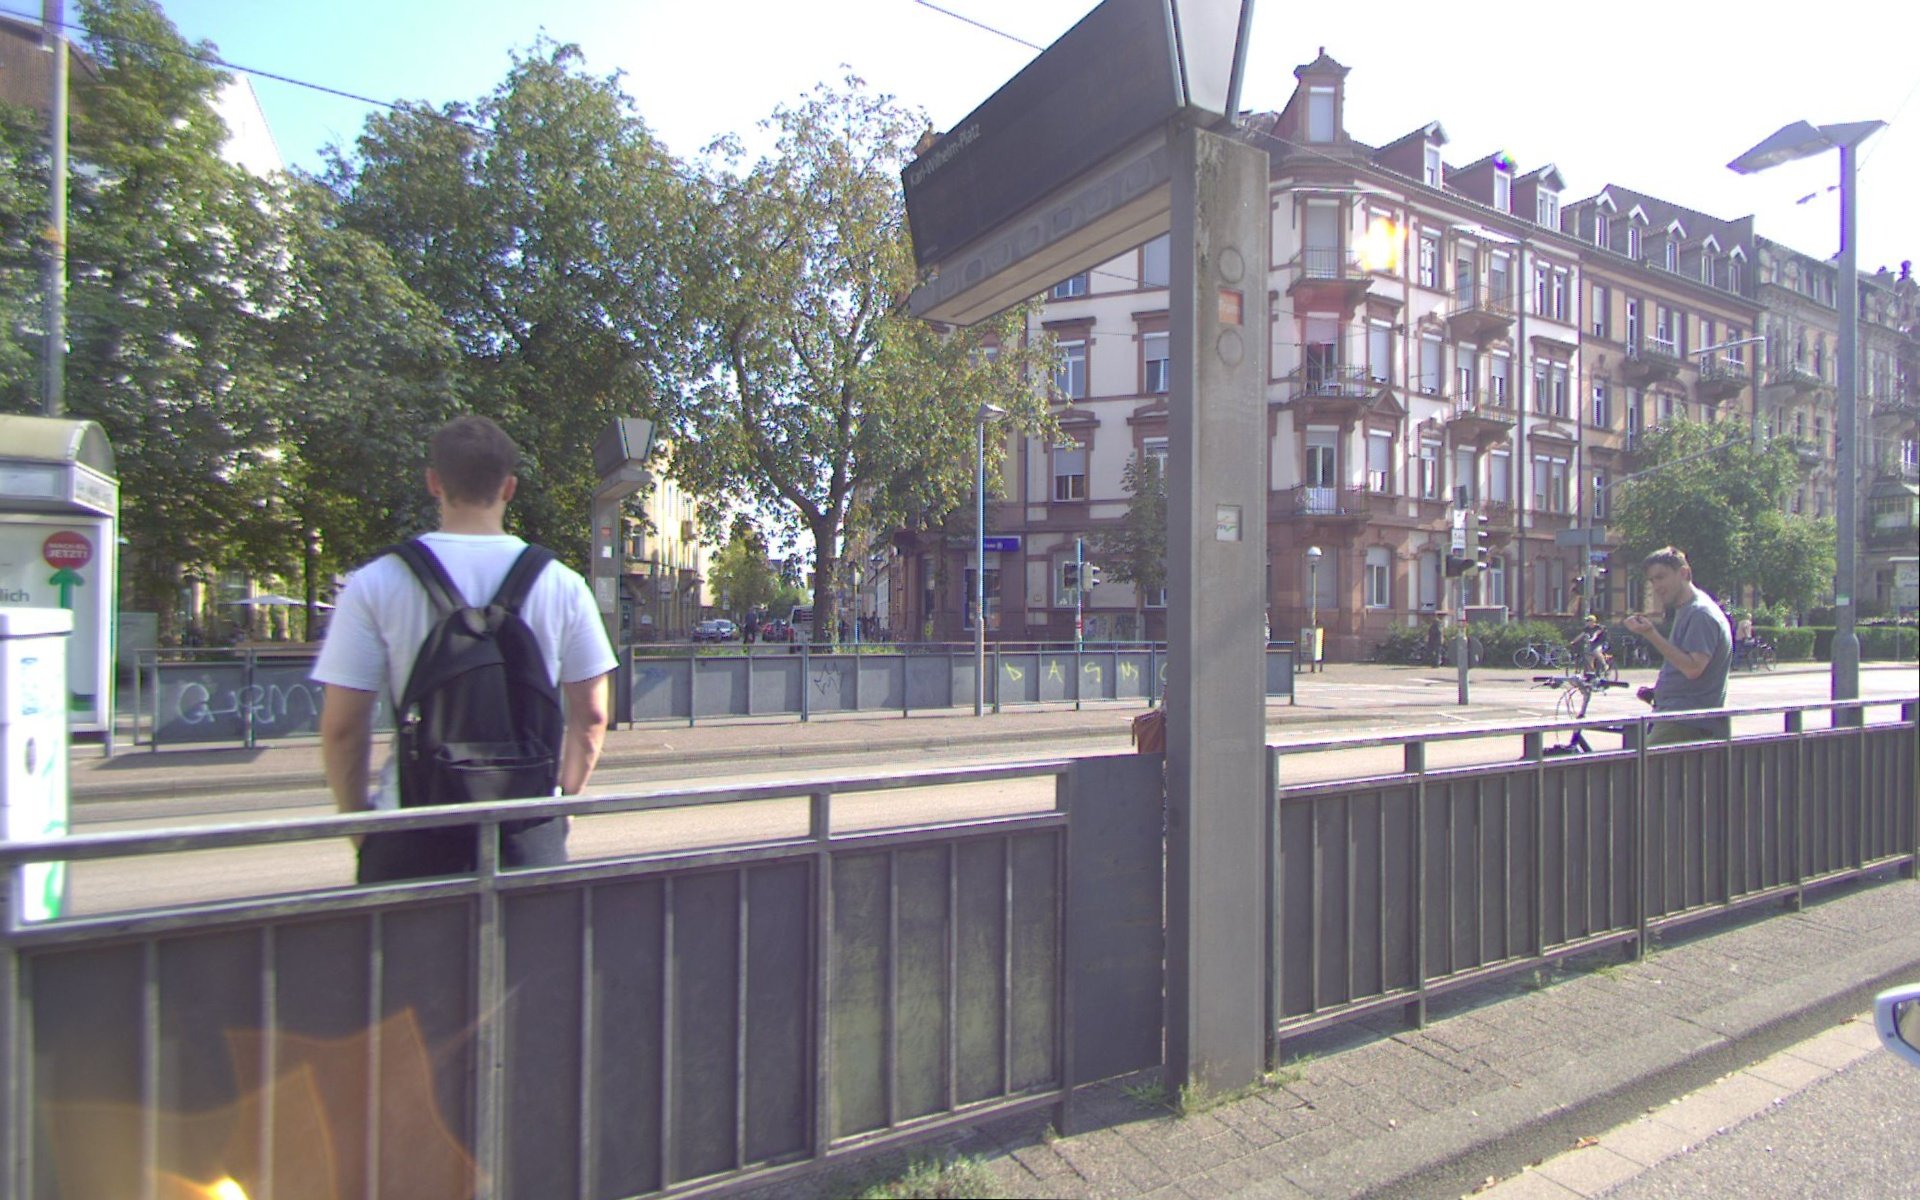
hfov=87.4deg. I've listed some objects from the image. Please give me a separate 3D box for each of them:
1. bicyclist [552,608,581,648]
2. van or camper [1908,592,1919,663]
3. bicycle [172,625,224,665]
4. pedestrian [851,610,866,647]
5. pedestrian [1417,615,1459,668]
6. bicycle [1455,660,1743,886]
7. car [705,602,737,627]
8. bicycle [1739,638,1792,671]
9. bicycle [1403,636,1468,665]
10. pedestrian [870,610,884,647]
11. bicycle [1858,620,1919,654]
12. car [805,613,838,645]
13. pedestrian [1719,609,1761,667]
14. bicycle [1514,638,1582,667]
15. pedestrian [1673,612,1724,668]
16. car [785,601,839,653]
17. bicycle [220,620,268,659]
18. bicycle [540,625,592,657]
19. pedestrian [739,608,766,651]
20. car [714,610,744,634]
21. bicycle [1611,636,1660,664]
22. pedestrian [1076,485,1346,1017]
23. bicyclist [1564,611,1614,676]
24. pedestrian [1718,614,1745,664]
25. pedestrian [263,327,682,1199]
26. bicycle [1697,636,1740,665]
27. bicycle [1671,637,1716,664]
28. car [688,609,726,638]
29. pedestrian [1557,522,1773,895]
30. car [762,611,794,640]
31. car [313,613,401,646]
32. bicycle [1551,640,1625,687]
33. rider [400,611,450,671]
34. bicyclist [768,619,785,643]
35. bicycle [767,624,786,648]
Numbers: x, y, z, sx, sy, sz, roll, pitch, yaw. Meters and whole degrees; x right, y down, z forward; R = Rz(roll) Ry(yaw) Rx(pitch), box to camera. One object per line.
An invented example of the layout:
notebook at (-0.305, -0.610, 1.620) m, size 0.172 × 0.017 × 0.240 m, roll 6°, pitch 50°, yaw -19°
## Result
bicyclist at (-13.970, 0.992, 35.662) m, size 0.642 × 1.378 × 0.759 m, roll 0°, pitch -1°, yaw 13°
van or camper at (39.600, 1.100, 38.843) m, size 6.003 × 2.679 × 2.046 m, roll 1°, pitch -2°, yaw -23°
bicycle at (-22.369, 1.302, 29.522) m, size 0.647 × 1.118 × 2.082 m, roll 1°, pitch -1°, yaw -21°
pedestrian at (-4.988, 1.389, 49.471) m, size 0.721 × 1.789 × 0.858 m, roll 0°, pitch -1°, yaw -5°
pedestrian at (14.673, 1.265, 30.871) m, size 0.926 × 1.591 × 0.842 m, roll 0°, pitch -1°, yaw 4°
bicycle at (3.636, 0.920, 5.696) m, size 1.712 × 1.118 × 0.471 m, roll 1°, pitch -1°, yaw -22°
car at (-19.854, 1.219, 83.614) m, size 2.041 × 2.043 × 4.588 m, roll 1°, pitch -1°, yaw -6°
bicycle at (25.702, 1.726, 32.032) m, size 2.125 × 1.020 × 0.615 m, roll 1°, pitch -1°, yaw -30°
bicycle at (15.127, 1.605, 31.950) m, size 1.791 × 0.871 × 0.528 m, roll 0°, pitch -1°, yaw 9°
pedestrian at (-4.111, 1.415, 49.600) m, size 0.654 × 1.789 × 0.858 m, roll 0°, pitch -1°, yaw -5°
bicycle at (43.226, 1.704, 46.116) m, size 0.988 × 1.474 × 2.855 m, roll 1°, pitch 0°, yaw -35°
car at (-9.013, 1.883, 65.647) m, size 2.041 × 2.043 × 4.588 m, roll 1°, pitch -1°, yaw -6°
pedestrian at (25.060, 1.216, 32.265) m, size 1.081 × 1.830 × 0.724 m, roll 1°, pitch -1°, yaw -31°
bicycle at (18.481, 1.648, 31.597) m, size 1.791 × 0.871 × 0.528 m, roll 0°, pitch -1°, yaw 9°
pedestrian at (24.139, 1.298, 32.838) m, size 1.170 × 1.789 × 0.902 m, roll 1°, pitch -1°, yaw -26°
car at (-6.066, 1.098, 41.659) m, size 2.041 × 2.043 × 4.588 m, roll 1°, pitch -1°, yaw -6°
bicycle at (-21.312, 1.161, 29.948) m, size 0.647 × 1.118 × 2.082 m, roll 1°, pitch -1°, yaw -21°
bicycle at (-13.972, 1.436, 35.662) m, size 0.642 × 1.118 × 2.074 m, roll 0°, pitch -1°, yaw 13°
pedestrian at (-7.786, 1.115, 37.730) m, size 0.980 × 1.574 × 1.112 m, roll 1°, pitch 0°, yaw -11°
car at (-20.378, 1.937, 88.782) m, size 2.041 × 2.043 × 4.588 m, roll 1°, pitch -1°, yaw -6°
bicycle at (22.026, 1.623, 32.757) m, size 1.804 × 0.871 × 0.524 m, roll 1°, pitch -1°, yaw -27°
pedestrian at (0.950, 0.513, 3.875) m, size 0.673 × 1.784 × 0.764 m, roll 1°, pitch -1°, yaw -31°
bicyclist at (16.123, 1.103, 25.753) m, size 1.031 × 1.635 × 0.670 m, roll 1°, pitch -1°, yaw -28°
pedestrian at (26.724, 1.344, 34.786) m, size 0.629 × 1.700 × 0.631 m, roll 1°, pitch -1°, yaw -41°
pedestrian at (-1.062, 0.440, 2.218) m, size 0.721 × 1.830 × 0.601 m, roll 1°, pitch -1°, yaw -31°
bicycle at (26.171, 1.733, 34.654) m, size 1.680 × 0.940 × 0.524 m, roll 1°, pitch -1°, yaw -27°
bicycle at (24.711, 1.697, 33.837) m, size 1.680 × 0.871 × 0.524 m, roll 1°, pitch -1°, yaw -27°
car at (-18.470, 1.726, 73.425) m, size 2.041 × 2.043 × 4.588 m, roll 1°, pitch -1°, yaw -6°
pedestrian at (3.733, 0.530, 5.335) m, size 0.787 × 1.789 × 0.686 m, roll 1°, pitch -1°, yaw -31°
car at (-13.502, 1.898, 74.813) m, size 2.041 × 2.043 × 4.588 m, roll 1°, pitch -1°, yaw -6°
car at (-35.183, 1.702, 58.681) m, size 3.926 × 1.873 × 1.998 m, roll 0°, pitch -1°, yaw -8°
bicycle at (16.079, 1.608, 25.720) m, size 2.043 × 1.118 × 0.681 m, roll 1°, pitch -1°, yaw -28°
rider at (-14.004, 1.057, 26.316) m, size 1.099 × 1.531 × 0.991 m, roll 1°, pitch 0°, yaw -26°
bicyclist at (-11.811, 2.011, 64.805) m, size 0.979 × 1.531 × 1.113 m, roll 1°, pitch 0°, yaw -7°
bicycle at (-11.853, 2.304, 64.910) m, size 0.979 × 1.474 × 2.881 m, roll 1°, pitch 0°, yaw -7°
